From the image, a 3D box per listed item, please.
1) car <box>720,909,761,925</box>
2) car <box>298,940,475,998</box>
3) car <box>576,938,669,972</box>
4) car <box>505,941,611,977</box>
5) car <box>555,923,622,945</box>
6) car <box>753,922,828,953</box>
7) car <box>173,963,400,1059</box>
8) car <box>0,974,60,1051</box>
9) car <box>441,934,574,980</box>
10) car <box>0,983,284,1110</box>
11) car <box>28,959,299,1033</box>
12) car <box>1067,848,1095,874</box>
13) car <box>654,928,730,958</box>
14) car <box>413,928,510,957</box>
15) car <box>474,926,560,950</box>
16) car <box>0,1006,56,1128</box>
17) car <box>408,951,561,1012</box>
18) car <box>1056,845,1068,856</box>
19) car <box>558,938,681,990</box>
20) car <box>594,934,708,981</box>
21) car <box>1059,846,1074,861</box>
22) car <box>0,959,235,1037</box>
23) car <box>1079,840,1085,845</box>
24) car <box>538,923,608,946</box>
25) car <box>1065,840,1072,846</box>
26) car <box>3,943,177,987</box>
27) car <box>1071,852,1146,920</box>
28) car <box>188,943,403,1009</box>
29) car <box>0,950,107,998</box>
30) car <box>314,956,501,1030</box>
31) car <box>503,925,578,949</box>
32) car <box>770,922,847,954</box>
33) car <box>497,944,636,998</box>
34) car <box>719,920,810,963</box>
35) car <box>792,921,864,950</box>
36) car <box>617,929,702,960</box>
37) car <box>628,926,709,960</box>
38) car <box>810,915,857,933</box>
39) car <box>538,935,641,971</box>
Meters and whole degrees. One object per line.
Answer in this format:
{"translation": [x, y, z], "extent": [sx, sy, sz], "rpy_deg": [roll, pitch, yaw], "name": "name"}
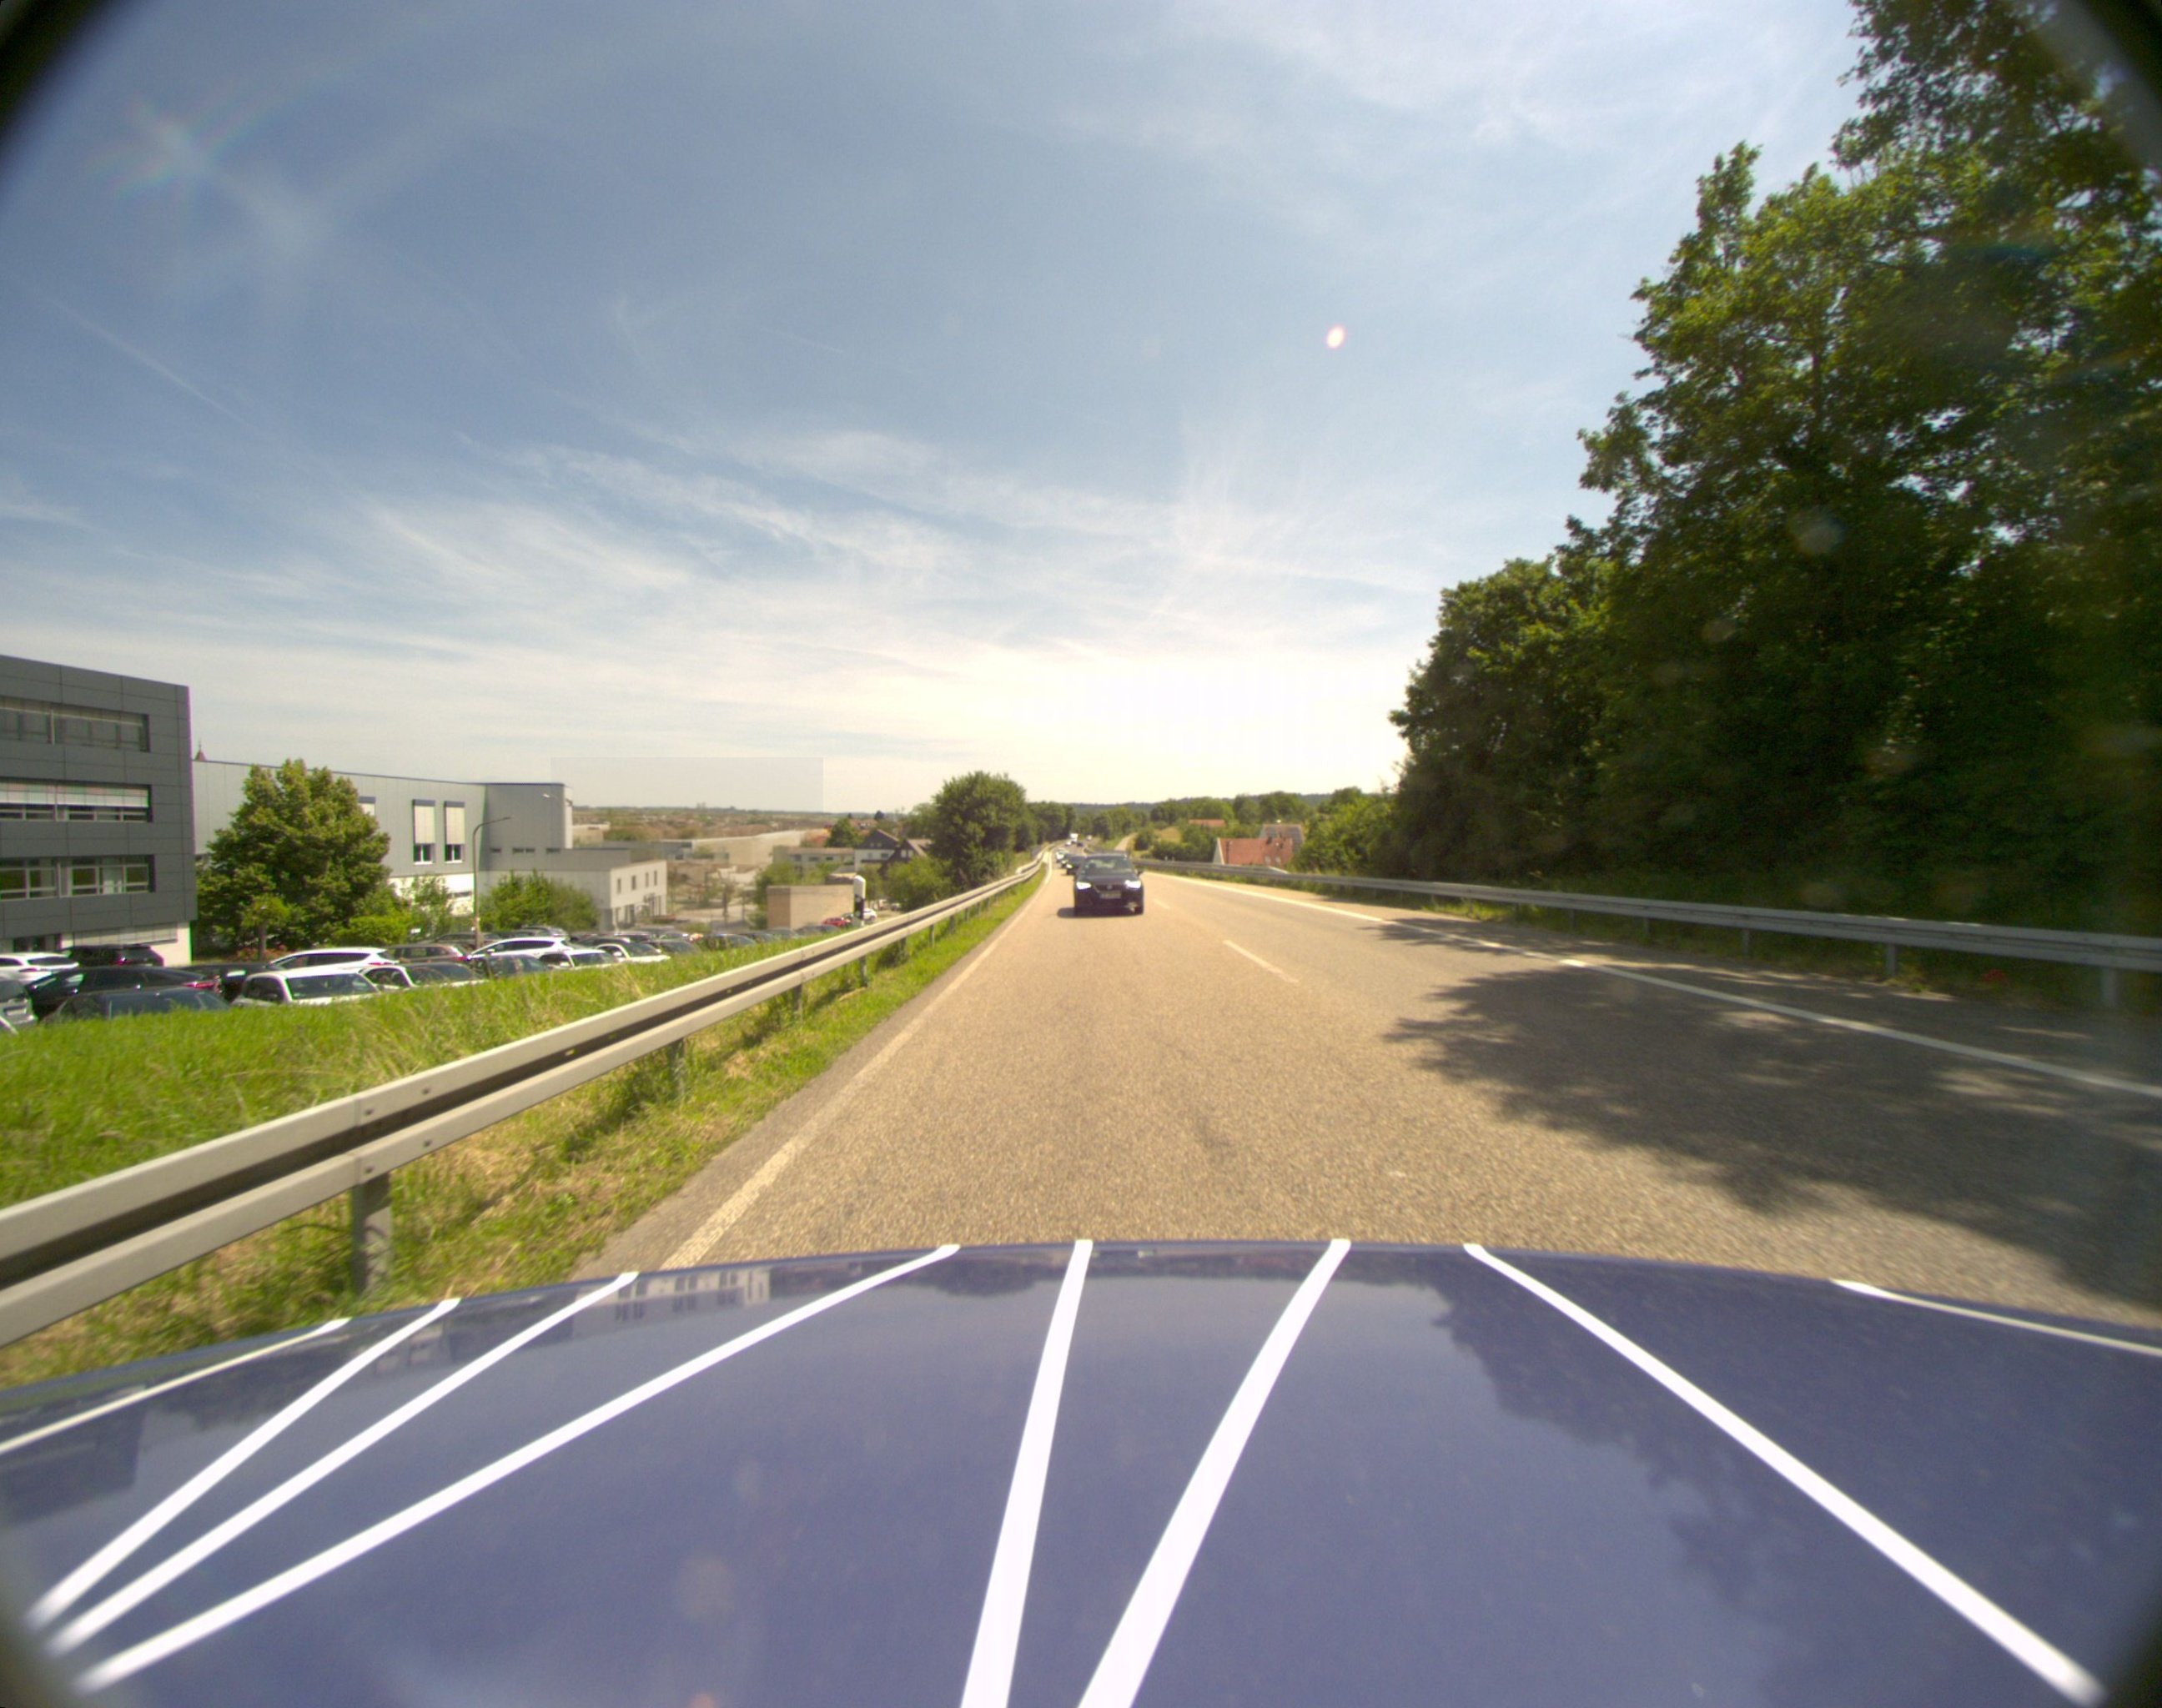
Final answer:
{"translation": [-41.120, 7.639, 91.875], "extent": [4.049, 1.562, 1.912], "rpy_deg": [4, -2, -3], "name": "car"}
{"translation": [-25.460, 4.176, 28.120], "extent": [4.595, 1.649, 1.787], "rpy_deg": [0, -4, -33], "name": "car"}
{"translation": [-25.774, 5.658, 42.809], "extent": [4.418, 1.526, 1.787], "rpy_deg": [0, -4, -31], "name": "car"}
{"translation": [-25.444, 5.100, 37.100], "extent": [4.167, 1.369, 1.787], "rpy_deg": [0, -4, -33], "name": "car"}
{"translation": [-39.775, 6.455, 61.454], "extent": [4.049, 1.562, 1.912], "rpy_deg": [1, -2, -3], "name": "car"}
{"translation": [-17.836, 5.146, 46.617], "extent": [4.401, 1.549, 1.989], "rpy_deg": [-7, -2, 34], "name": "car"}
{"translation": [-16.746, 3.292, 16.009], "extent": [4.368, 1.549, 1.865], "rpy_deg": [-6, -2, 24], "name": "car"}
{"translation": [-25.392, 3.498, 15.795], "extent": [4.595, 1.529, 1.817], "rpy_deg": [0, -4, -33], "name": "car"}
{"translation": [-25.453, 4.556, 33.953], "extent": [4.595, 1.649, 1.787], "rpy_deg": [0, -4, -33], "name": "car"}
{"translation": [-15.883, 3.168, 12.849], "extent": [4.368, 1.549, 1.891], "rpy_deg": [-6, -2, 24], "name": "car"}
{"translation": [-25.878, 3.952, 21.735], "extent": [4.595, 1.503, 1.817], "rpy_deg": [0, -4, -33], "name": "car"}
{"translation": [-0.039, 0.510, 54.414], "extent": [1.879, 1.637, 4.001], "rpy_deg": [2, -3, -1], "name": "car"}
{"translation": [-26.548, 6.050, 51.881], "extent": [4.417, 1.436, 1.787], "rpy_deg": [-4, -2, -31], "name": "car"}
{"translation": [-39.623, 5.655, 48.691], "extent": [4.584, 1.562, 1.821], "rpy_deg": [-1, -2, -3], "name": "car"}
{"translation": [-39.638, 5.893, 53.462], "extent": [4.584, 1.562, 1.821], "rpy_deg": [1, -2, -3], "name": "car"}
{"translation": [-16.667, 3.108, 10.573], "extent": [4.368, 1.549, 1.891], "rpy_deg": [-6, -2, 24], "name": "car"}
{"translation": [-17.752, 3.799, 22.602], "extent": [4.368, 1.447, 1.822], "rpy_deg": [-6, -2, 27], "name": "car"}
{"translation": [-3.079, -0.529, 125.563], "extent": [1.879, 1.637, 4.001], "rpy_deg": [2, -3, -1], "name": "car"}
{"translation": [-16.972, 4.033, 27.925], "extent": [4.118, 1.509, 1.682], "rpy_deg": [-6, -2, 23], "name": "car"}
{"translation": [-17.670, 4.254, 31.213], "extent": [4.368, 1.481, 1.714], "rpy_deg": [-6, -2, 23], "name": "car"}
{"translation": [-1.888, -0.074, 97.252], "extent": [1.879, 1.637, 4.001], "rpy_deg": [2, -3, -1], "name": "car"}
{"translation": [-24.957, 3.604, 19.116], "extent": [4.595, 1.503, 1.817], "rpy_deg": [0, -5, -36], "name": "car"}
{"translation": [0.369, -3.499, 238.768], "extent": [1.870, 1.602, 4.371], "rpy_deg": [1, 1, 0], "name": "car"}
{"translation": [-39.281, 6.215, 58.850], "extent": [4.049, 1.562, 1.912], "rpy_deg": [1, -2, -3], "name": "car"}
{"translation": [-3.974, -3.495, 242.519], "extent": [1.978, 2.002, 3.999], "rpy_deg": [4, 0, -1], "name": "car"}
{"translation": [-39.813, 4.461, 30.611], "extent": [4.583, 1.562, 1.821], "rpy_deg": [0, -2, 0], "name": "car"}
{"translation": [0.681, 0.751, 20.058], "extent": [1.737, 1.468, 3.999], "rpy_deg": [1, 2, 1], "name": "car"}
{"translation": [-25.456, 3.927, 24.918], "extent": [4.595, 1.649, 1.817], "rpy_deg": [0, -4, -33], "name": "car"}
{"translation": [-39.412, 4.392, 27.884], "extent": [4.585, 1.562, 1.820], "rpy_deg": [0, -2, -5], "name": "car"}
{"translation": [-17.033, 3.518, 19.211], "extent": [4.368, 1.447, 1.822], "rpy_deg": [-6, -2, 24], "name": "car"}
{"translation": [-39.853, 6.111, 56.067], "extent": [4.049, 1.562, 1.912], "rpy_deg": [1, -2, -3], "name": "car"}
{"translation": [-17.712, 5.440, 49.347], "extent": [4.402, 1.652, 1.902], "rpy_deg": [-6, -2, 21], "name": "car"}
{"translation": [-17.067, 3.893, 25.183], "extent": [4.368, 1.386, 1.822], "rpy_deg": [-6, -2, 27], "name": "car"}
{"translation": [-18.285, 5.047, 43.867], "extent": [4.715, 2.001, 2.083], "rpy_deg": [-6, -2, 25], "name": "car"}
{"translation": [-17.168, 5.533, 51.545], "extent": [4.402, 1.533, 1.793], "rpy_deg": [-6, -2, 21], "name": "car"}
{"translation": [-25.616, 5.467, 46.212], "extent": [4.418, 1.531, 1.787], "rpy_deg": [0, -4, -31], "name": "car"}
{"translation": [-26.625, 5.700, 49.115], "extent": [4.417, 1.594, 1.787], "rpy_deg": [-4, -2, -31], "name": "car"}
{"translation": [-26.862, 7.582, 82.443], "extent": [4.417, 1.436, 1.787], "rpy_deg": [-4, -2, -31], "name": "car"}
{"translation": [-25.679, 5.129, 39.756], "extent": [4.420, 1.500, 1.787], "rpy_deg": [0, -5, -36], "name": "car"}
